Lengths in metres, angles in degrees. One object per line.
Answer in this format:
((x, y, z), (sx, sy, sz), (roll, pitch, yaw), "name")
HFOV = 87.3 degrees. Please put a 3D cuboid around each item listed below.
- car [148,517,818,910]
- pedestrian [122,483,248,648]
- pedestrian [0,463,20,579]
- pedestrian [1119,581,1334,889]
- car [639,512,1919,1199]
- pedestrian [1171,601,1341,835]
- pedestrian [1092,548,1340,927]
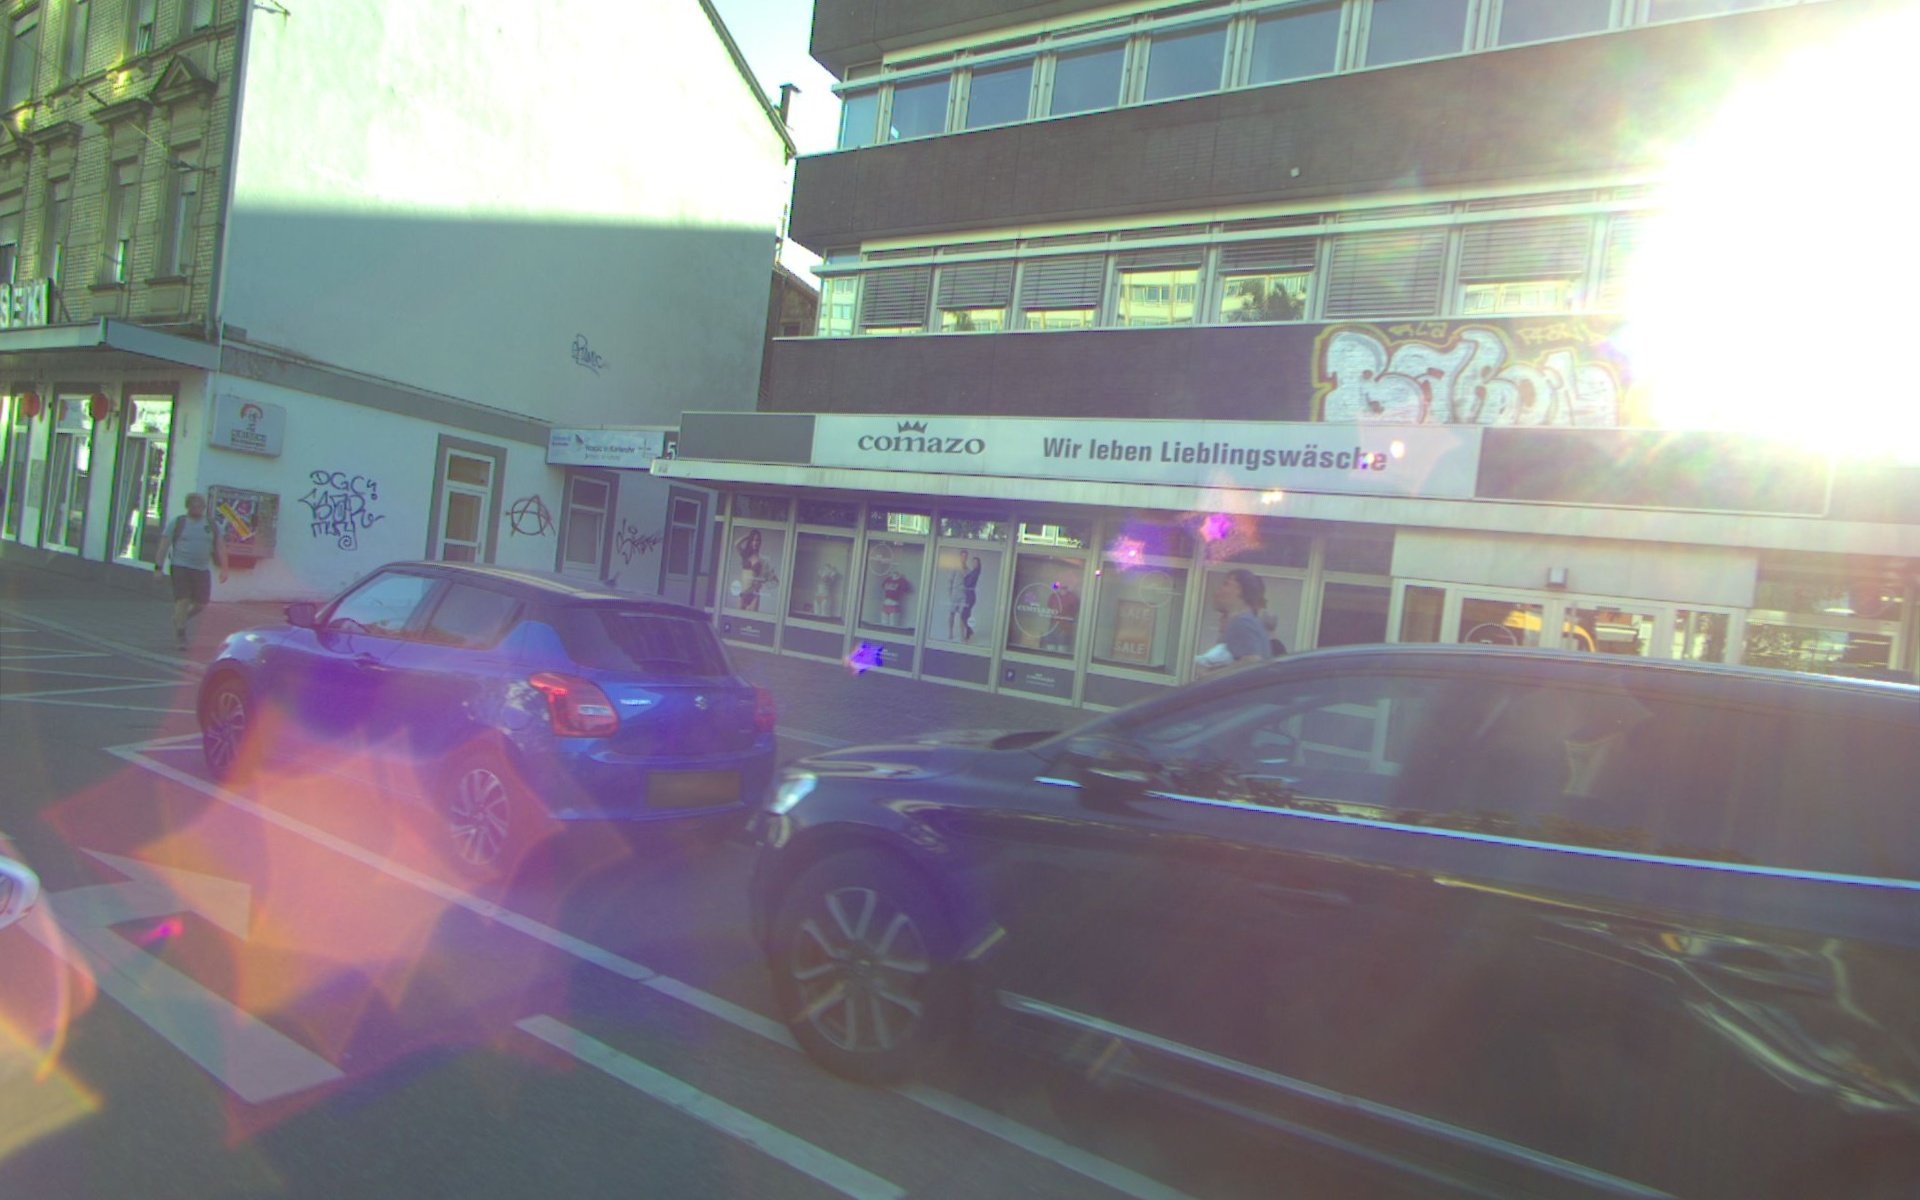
((-2.924, 0.512, 6.043), (3.730, 1.509, 1.642), (7, -3, 29), "car")
((-8.815, -0.384, 11.443), (0.930, 1.761, 0.787), (6, 3, 30), "pedestrian")
((-15.718, -1.311, 15.878), (1.037, 1.815, 0.947), (7, 2, 30), "pedestrian")
((1.775, 0.836, 6.671), (1.015, 1.779, 0.811), (7, 1, 30), "pedestrian")
((1.270, 0.869, 3.331), (4.400, 1.778, 1.824), (7, -1, 31), "car")
((2.501, 0.939, 8.473), (1.015, 1.736, 0.901), (7, 3, 30), "pedestrian")
((1.497, 0.735, 5.857), (1.015, 1.923, 0.794), (7, 1, 30), "pedestrian")
